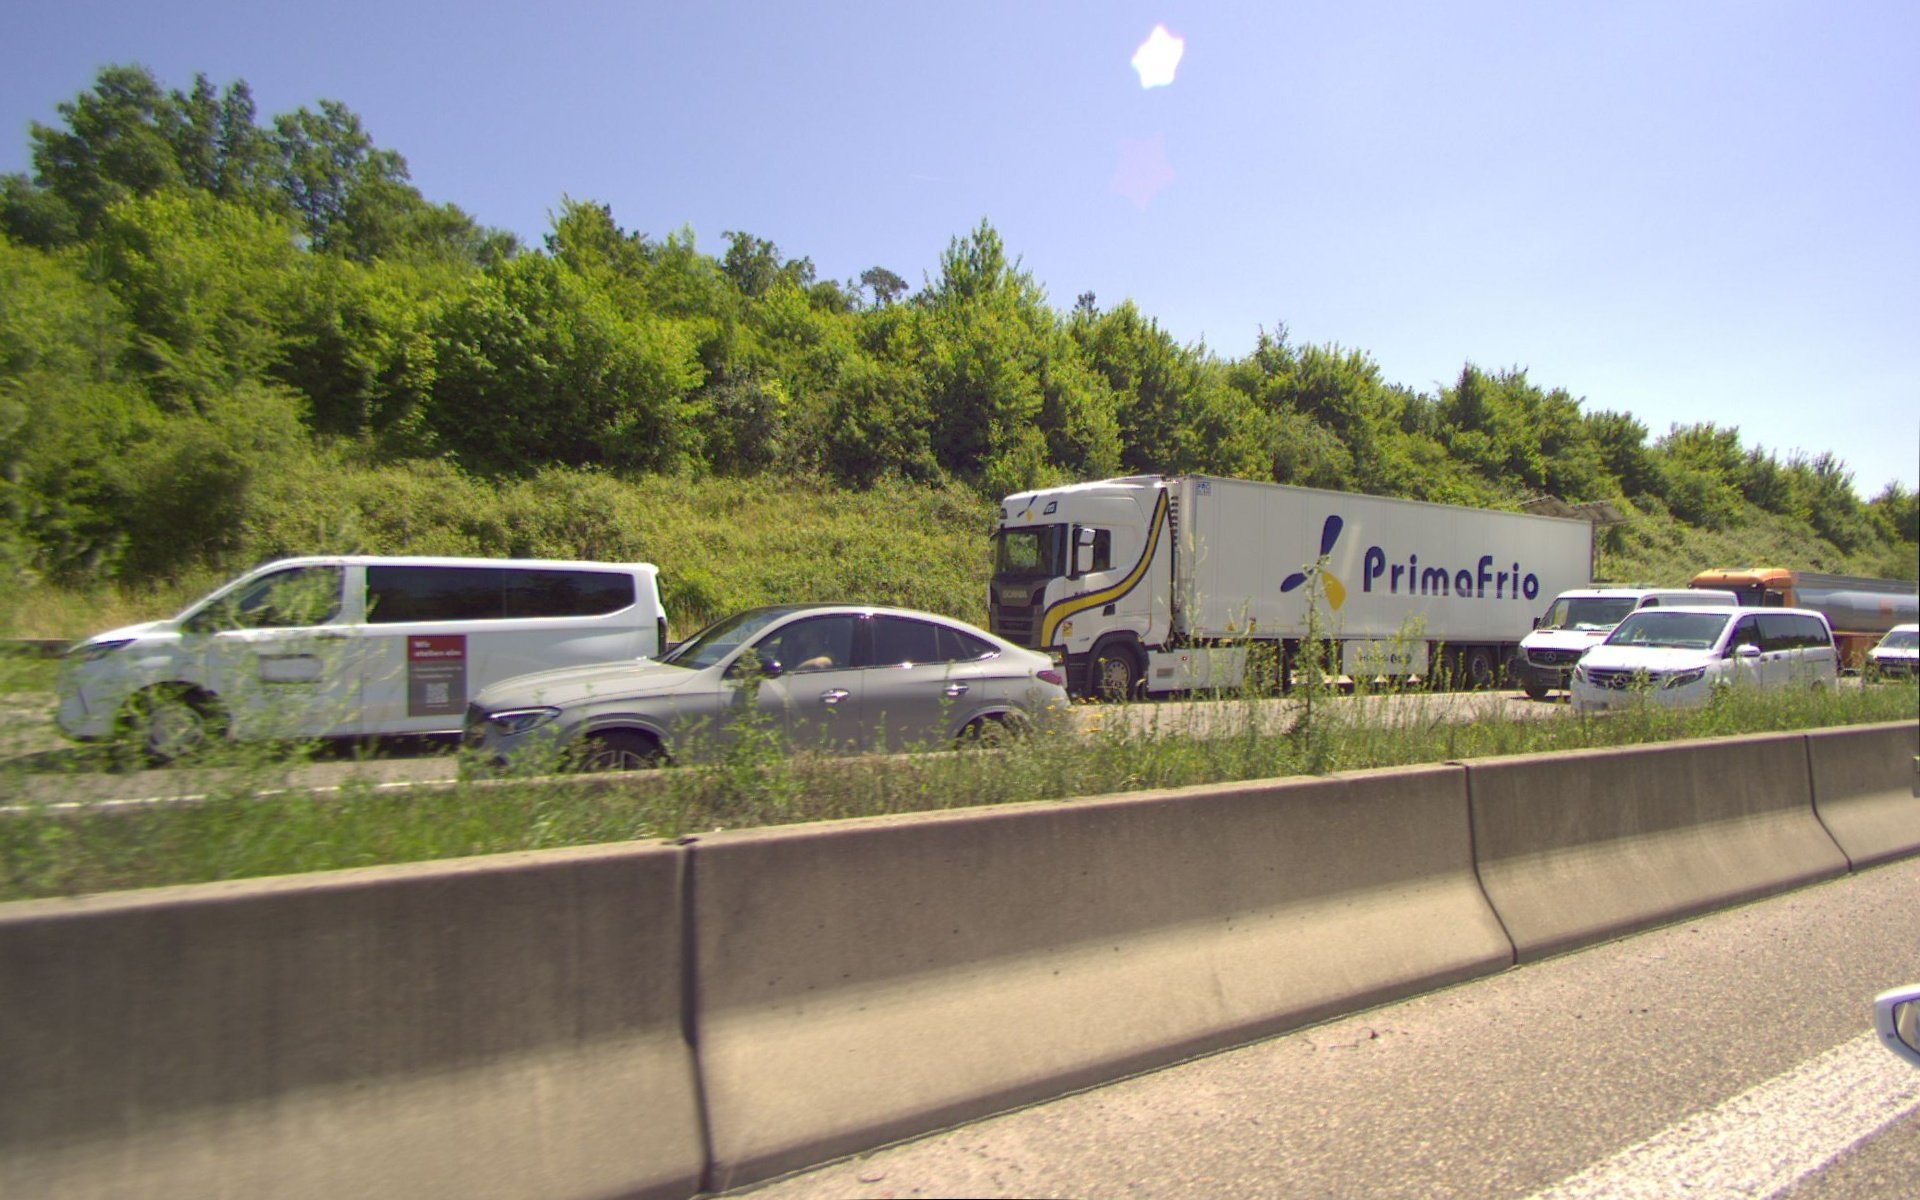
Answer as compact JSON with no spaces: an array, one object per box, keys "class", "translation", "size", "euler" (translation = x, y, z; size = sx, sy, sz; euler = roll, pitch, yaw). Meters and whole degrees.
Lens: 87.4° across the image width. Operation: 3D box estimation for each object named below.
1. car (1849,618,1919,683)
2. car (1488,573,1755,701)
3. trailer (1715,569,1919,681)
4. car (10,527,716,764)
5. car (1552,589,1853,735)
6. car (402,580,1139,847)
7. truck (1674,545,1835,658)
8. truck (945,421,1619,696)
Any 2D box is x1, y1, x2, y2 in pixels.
[{"class":"car","translation":[28.944,1.519,30.363],"size":[4.706,1.786,1.818],"euler":[2,0,-32]},{"class":"car","translation":[14.341,0.792,21.626],"size":[6.466,2.416,2.173],"euler":[2,0,-31]},{"class":"trailer","translation":[31.326,1.021,35.920],"size":[11.561,3.337,2.565],"euler":[4,-1,-30]},{"class":"car","translation":[-5.764,0.463,10.651],"size":[5.811,1.967,2.176],"euler":[2,0,-27]},{"class":"car","translation":[11.985,0.939,16.086],"size":[5.599,2.003,1.817],"euler":[2,0,-31]},{"class":"car","translation":[-1.246,0.708,7.820],"size":[5.339,1.497,1.816],"euler":[2,0,-32]},{"class":"truck","translation":[25.903,0.082,32.712],"size":[5.128,3.410,2.480],"euler":[1,0,-32]},{"class":"truck","translation":[8.081,-0.432,22.389],"size":[17.176,4.515,3.679],"euler":[2,0,-30]}]
